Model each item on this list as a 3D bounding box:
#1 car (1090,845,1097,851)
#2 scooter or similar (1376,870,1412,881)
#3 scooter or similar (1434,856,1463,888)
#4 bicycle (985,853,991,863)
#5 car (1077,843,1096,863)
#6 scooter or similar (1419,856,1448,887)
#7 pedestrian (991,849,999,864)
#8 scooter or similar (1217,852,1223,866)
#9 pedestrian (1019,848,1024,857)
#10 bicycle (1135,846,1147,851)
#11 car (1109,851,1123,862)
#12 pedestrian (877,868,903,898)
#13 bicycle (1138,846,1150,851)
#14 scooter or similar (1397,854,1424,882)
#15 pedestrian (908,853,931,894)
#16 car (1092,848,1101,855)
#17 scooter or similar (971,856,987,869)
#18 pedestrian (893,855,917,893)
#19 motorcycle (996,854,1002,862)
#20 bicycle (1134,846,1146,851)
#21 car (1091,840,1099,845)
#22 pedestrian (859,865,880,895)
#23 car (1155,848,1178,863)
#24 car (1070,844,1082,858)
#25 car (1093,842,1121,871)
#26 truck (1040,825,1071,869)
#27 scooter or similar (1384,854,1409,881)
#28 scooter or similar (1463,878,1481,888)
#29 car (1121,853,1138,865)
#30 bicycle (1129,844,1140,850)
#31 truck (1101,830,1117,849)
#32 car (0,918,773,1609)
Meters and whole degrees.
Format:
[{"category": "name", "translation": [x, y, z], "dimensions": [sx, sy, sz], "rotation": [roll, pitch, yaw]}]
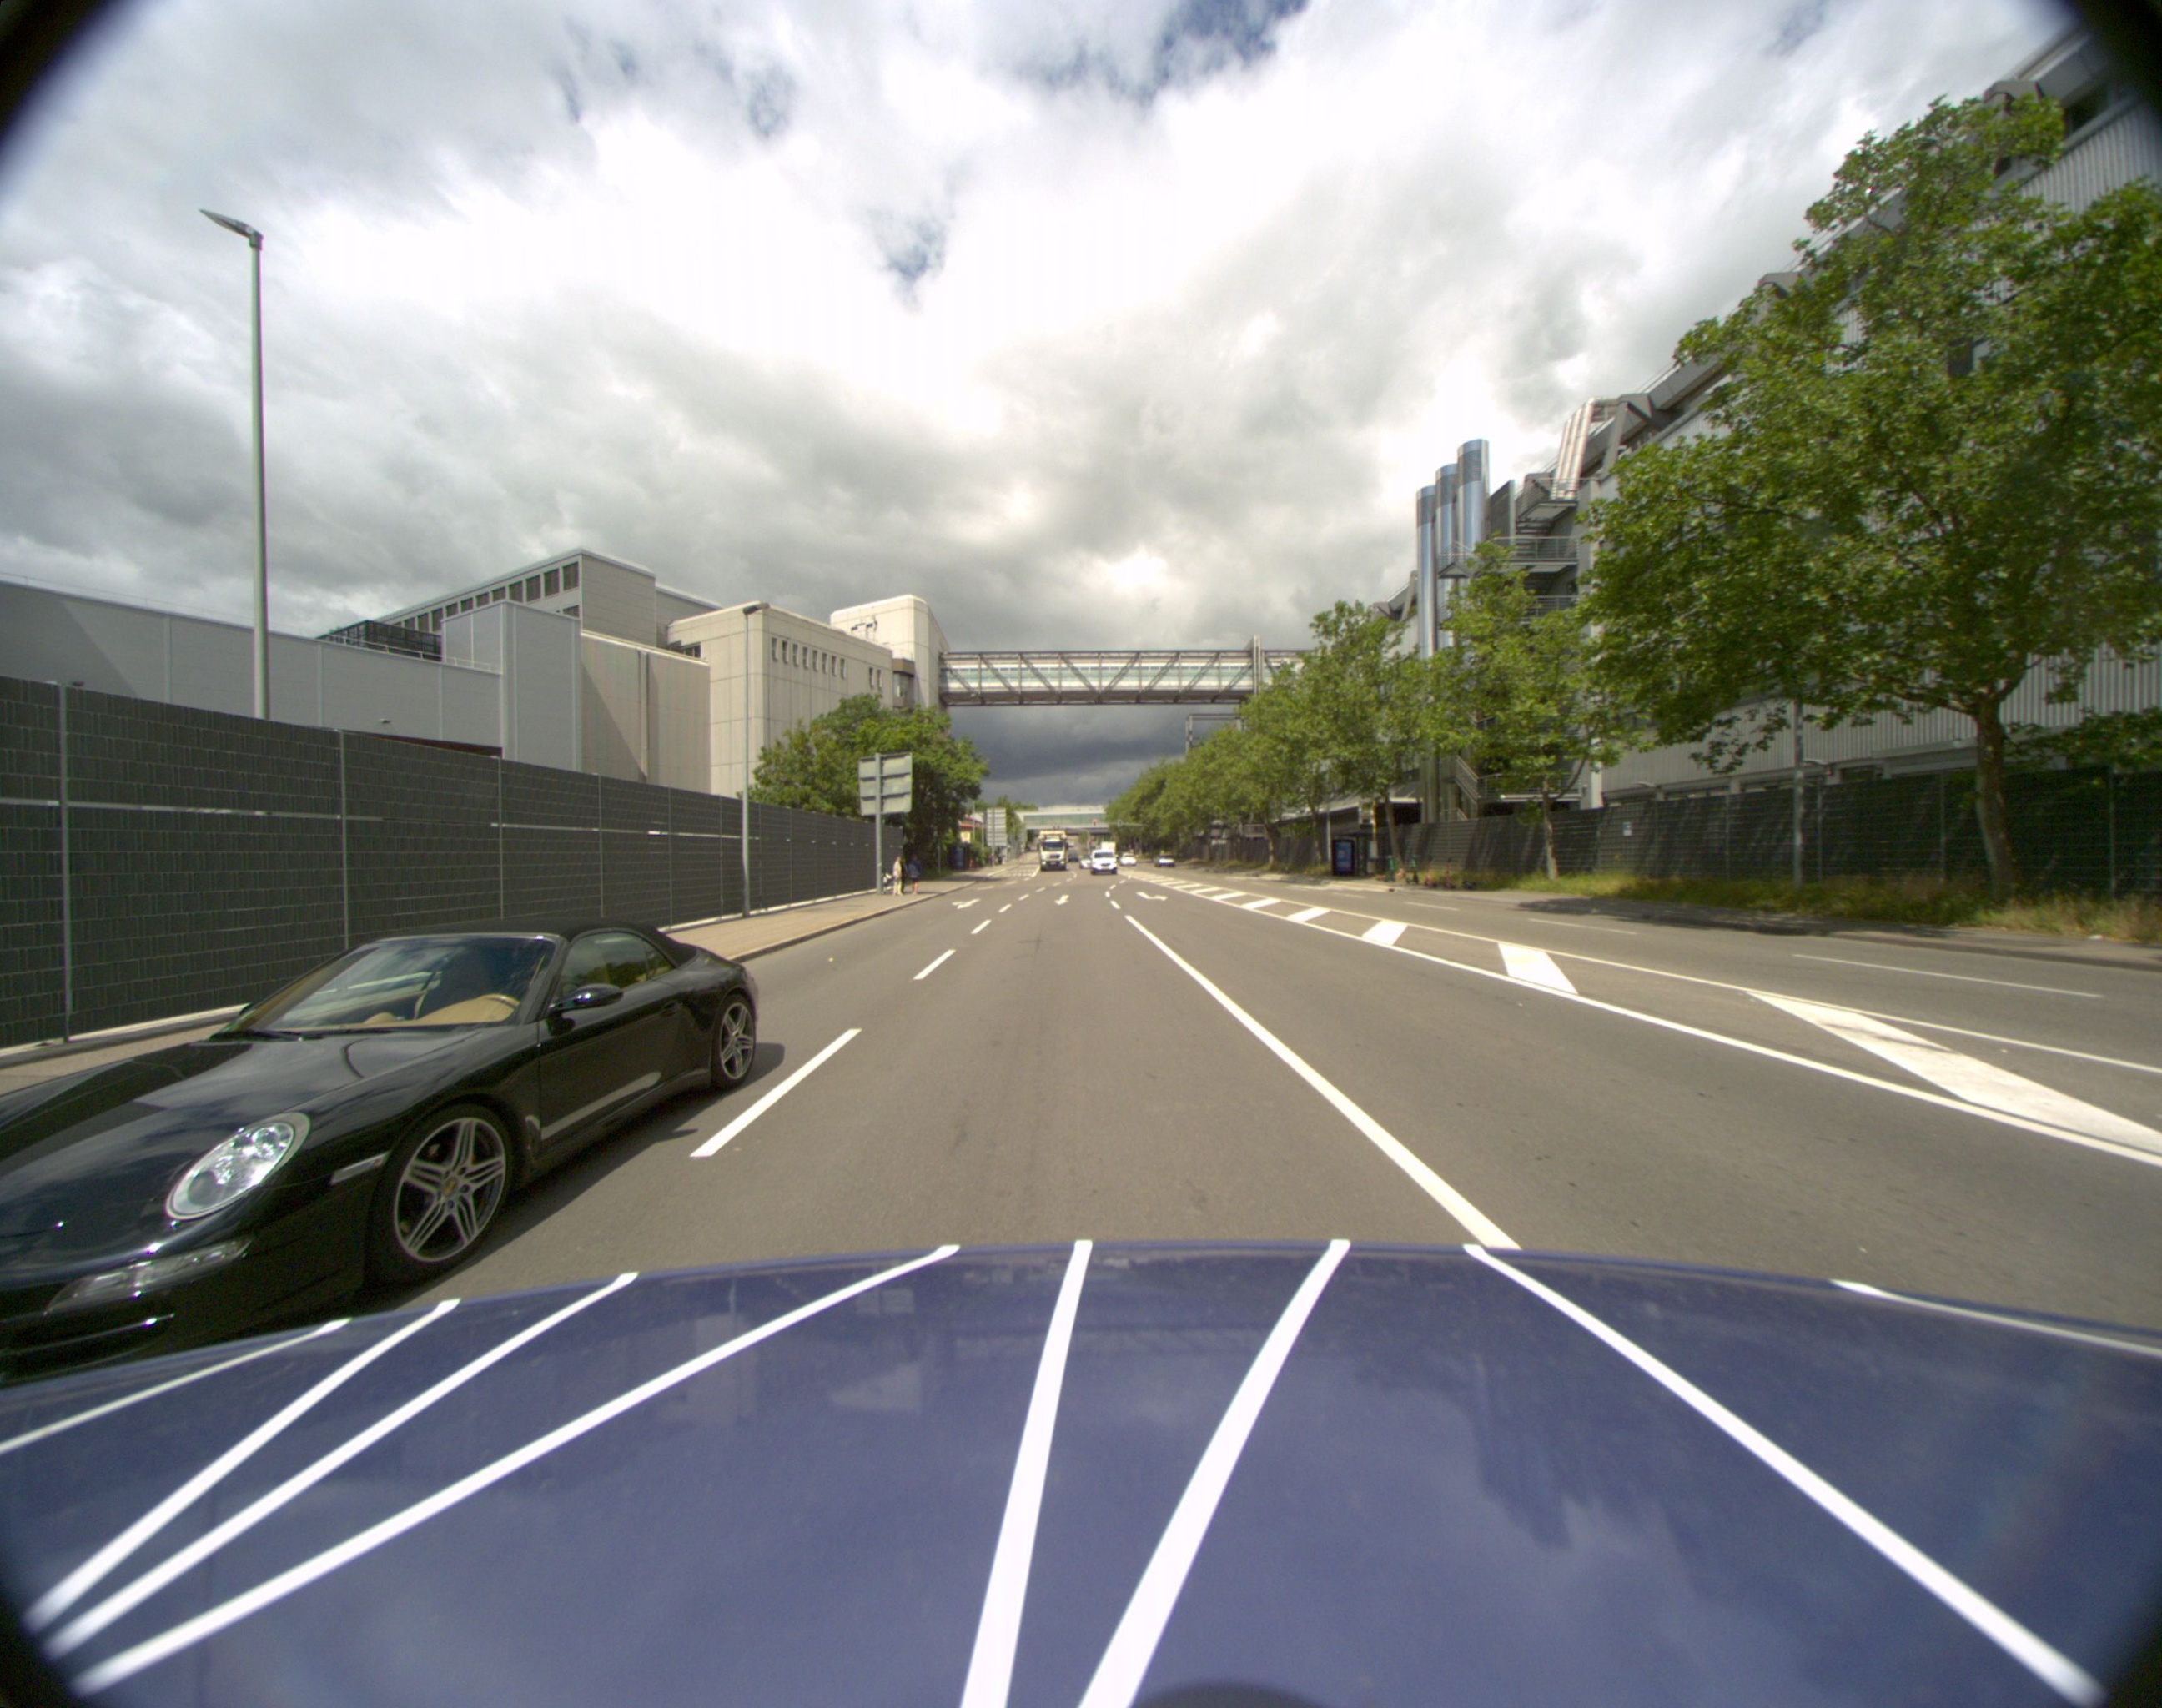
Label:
[{"category": "car", "translation": [3.128, -1.484, 185.578], "dimensions": [1.562, 1.496, 3.612], "rotation": [1, 1, -1]}, {"category": "scooter or similar", "translation": [15.317, 1.032, 37.174], "dimensions": [1.361, 0.378, 1.493], "rotation": [-4, 0, 34]}, {"category": "scooter or similar", "translation": [14.771, 0.727, 30.553], "dimensions": [0.524, 1.227, 1.318], "rotation": [-4, 0, 5]}, {"category": "bicycle", "translation": [-10.976, 0.485, 89.555], "dimensions": [0.444, 1.173, 2.468], "rotation": [-2, 1, -2]}, {"category": "car", "translation": [0.559, -0.142, 78.999], "dimensions": [1.872, 1.944, 4.710], "rotation": [-3, 1, 0]}, {"category": "scooter or similar", "translation": [14.810, 0.735, 31.935], "dimensions": [0.524, 1.227, 1.318], "rotation": [-4, 0, 1]}, {"category": "pedestrian", "translation": [-9.612, 0.280, 84.783], "dimensions": [0.812, 1.635, 0.997], "rotation": [0, 1, -3]}, {"category": "scooter or similar", "translation": [13.554, 0.475, 74.252], "dimensions": [0.304, 1.395, 1.235], "rotation": [-2, 1, -2]}, {"category": "pedestrian", "translation": [-11.540, -0.287, 147.343], "dimensions": [0.729, 1.756, 1.015], "rotation": [-2, 1, -2]}, {"category": "bicycle", "translation": [12.967, -1.194, 164.596], "dimensions": [2.561, 1.079, 0.616], "rotation": [-2, 1, 4]}, {"category": "car", "translation": [5.058, 0.324, 111.550], "dimensions": [1.744, 1.572, 4.266], "rotation": [1, 1, -1]}, {"category": "pedestrian", "translation": [-7.943, 1.191, 31.576], "dimensions": [0.759, 1.142, 0.971], "rotation": [-2, 1, 2]}, {"category": "bicycle", "translation": [13.758, -1.244, 165.614], "dimensions": [2.561, 1.079, 0.616], "rotation": [-2, 1, 6]}, {"category": "scooter or similar", "translation": [14.789, 0.616, 34.142], "dimensions": [0.524, 1.227, 1.317], "rotation": [-4, 0, -2]}, {"category": "pedestrian", "translation": [-6.859, 0.812, 32.276], "dimensions": [0.797, 1.711, 0.731], "rotation": [-2, 1, -5]}, {"category": "car", "translation": [3.595, -0.586, 173.796], "dimensions": [1.741, 1.674, 4.211], "rotation": [-2, 1, -4]}, {"category": "scooter or similar", "translation": [-9.352, 0.763, 69.753], "dimensions": [0.542, 1.156, 1.795], "rotation": [0, 1, 26]}, {"category": "pedestrian", "translation": [-7.640, 0.856, 33.007], "dimensions": [0.797, 1.588, 0.731], "rotation": [-2, 1, -3]}, {"category": "motorcycle", "translation": [-10.824, 0.536, 100.453], "dimensions": [0.592, 1.061, 2.036], "rotation": [0, 1, -1]}, {"category": "bicycle", "translation": [12.803, -1.186, 163.825], "dimensions": [2.561, 1.079, 0.616], "rotation": [-2, 1, 4]}, {"category": "car", "translation": [4.848, -3.963, 264.330], "dimensions": [1.997, 1.446, 4.771], "rotation": [1, 1, 9]}, {"category": "pedestrian", "translation": [-8.729, 1.075, 31.375], "dimensions": [0.598, 1.200, 0.716], "rotation": [-2, 1, 2]}, {"category": "car", "translation": [9.452, 0.165, 84.181], "dimensions": [1.883, 1.497, 4.190], "rotation": [1, 0, -1]}, {"category": "car", "translation": [-0.773, -0.476, 118.605], "dimensions": [1.872, 1.944, 4.710], "rotation": [-3, 2, 0]}, {"category": "car", "translation": [1.859, 0.222, 55.870], "dimensions": [1.825, 2.001, 4.392], "rotation": [-1, -1, 0]}, {"category": "truck", "translation": [-2.479, -0.724, 75.241], "dimensions": [2.713, 3.863, 10.737], "rotation": [-2, 1, -2]}, {"category": "scooter or similar", "translation": [14.788, 0.622, 35.669], "dimensions": [0.524, 1.227, 1.317], "rotation": [-4, 0, -2]}, {"category": "scooter or similar", "translation": [15.316, 1.139, 29.767], "dimensions": [0.538, 0.320, 1.274], "rotation": [-2, 0, 24]}, {"category": "car", "translation": [5.809, 0.547, 91.141], "dimensions": [1.696, 1.407, 4.144], "rotation": [1, 0, -1]}, {"category": "bicycle", "translation": [12.413, -1.657, 177.342], "dimensions": [2.562, 1.171, 0.615], "rotation": [-2, 1, -1]}, {"category": "truck", "translation": [4.887, -2.592, 132.417], "dimensions": [2.458, 3.111, 7.242], "rotation": [-2, 1, 1]}, {"category": "car", "translation": [-3.344, 1.162, 3.777], "dimensions": [1.838, 1.317, 4.001], "rotation": [-3, -1, 2]}]
